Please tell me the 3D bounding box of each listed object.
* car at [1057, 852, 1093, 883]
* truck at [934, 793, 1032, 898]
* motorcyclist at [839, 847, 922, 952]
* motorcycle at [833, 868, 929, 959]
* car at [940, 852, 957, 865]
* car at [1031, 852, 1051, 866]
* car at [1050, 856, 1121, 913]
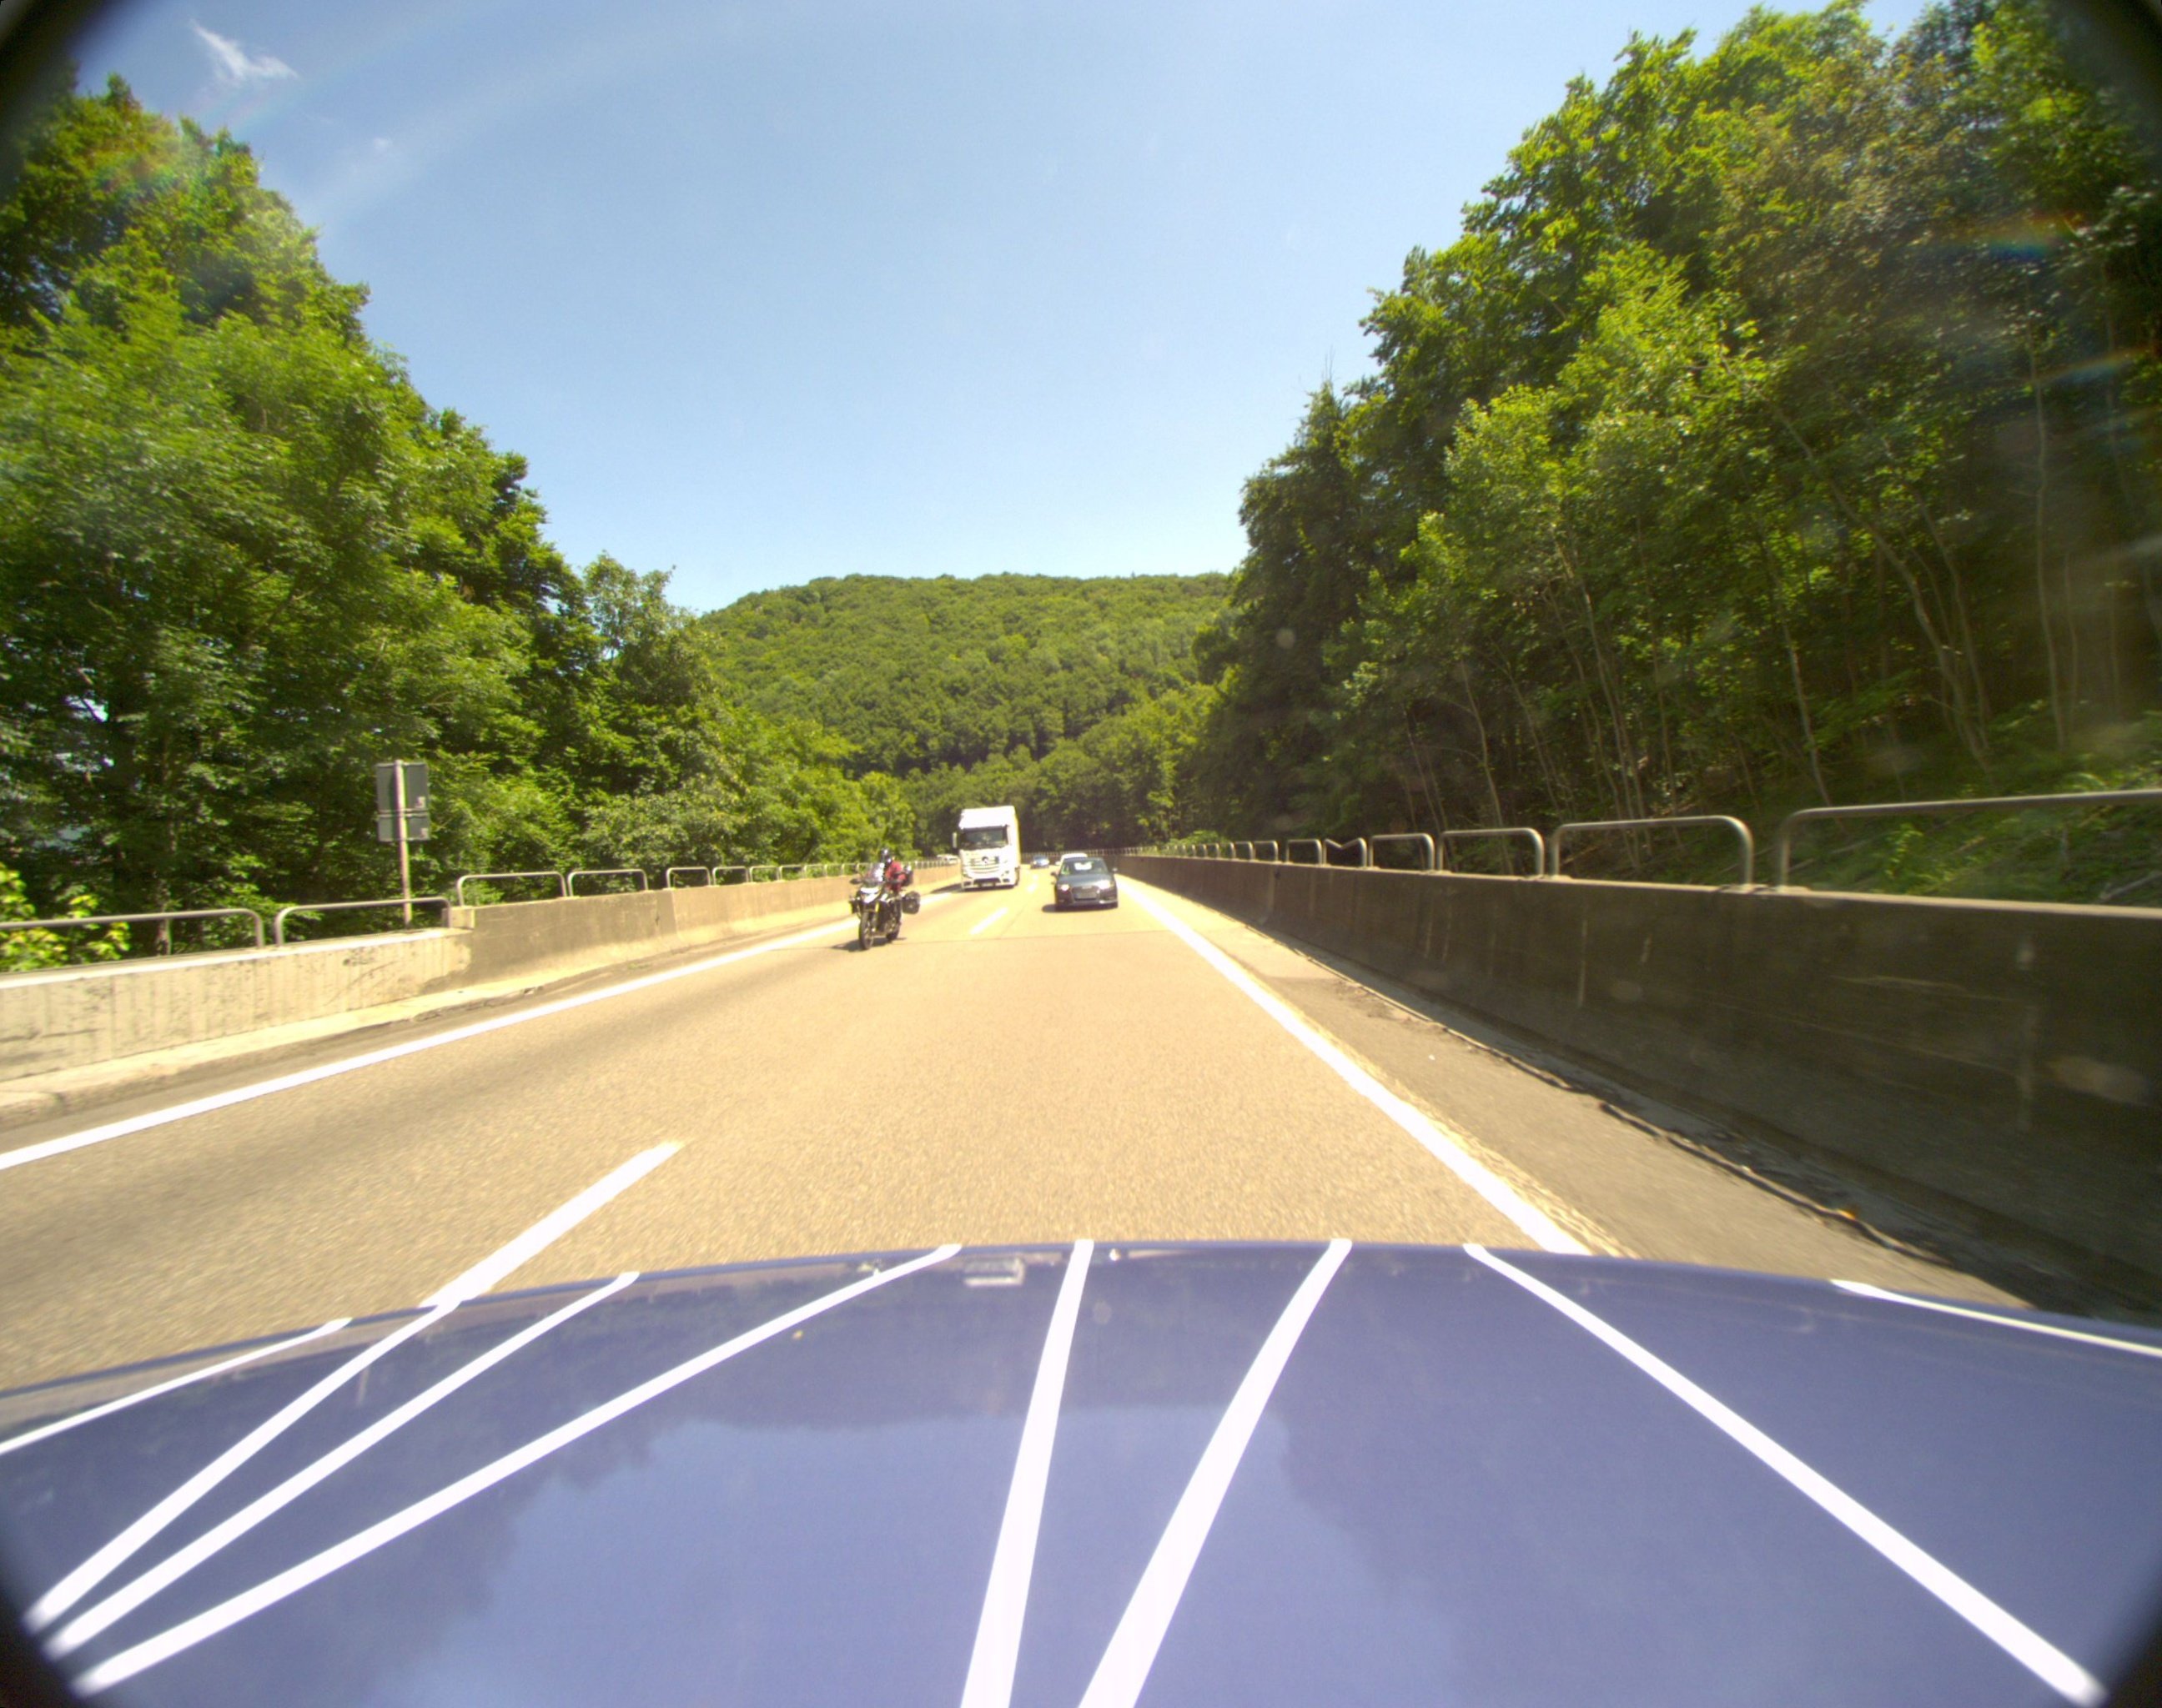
[{"bbox_3d":[-0.346,0.675,39.913,1.755,1.460,3.981,-3,0,-2],"label":"car"},{"bbox_3d":[-4.578,-0.432,39.655,2.969,4.109,16.703,-4,1,-1],"label":"truck"},{"bbox_3d":[-3.632,0.781,13.890,1.063,1.790,1.338,-2,1,1],"label":"motorcyclist"},{"bbox_3d":[-3.632,1.027,14.109,0.975,1.411,2.681,-2,1,1],"label":"motorcycle"},{"bbox_3d":[-22.185,0.706,127.021,2.002,2.002,3.992,-3,1,-23],"label":"car"},{"bbox_3d":[-4.341,0.521,82.006,1.756,1.480,3.979,-3,1,-8],"label":"car"},{"bbox_3d":[0.108,0.796,21.521,1.755,1.350,4.121,-3,0,0],"label":"car"}]
